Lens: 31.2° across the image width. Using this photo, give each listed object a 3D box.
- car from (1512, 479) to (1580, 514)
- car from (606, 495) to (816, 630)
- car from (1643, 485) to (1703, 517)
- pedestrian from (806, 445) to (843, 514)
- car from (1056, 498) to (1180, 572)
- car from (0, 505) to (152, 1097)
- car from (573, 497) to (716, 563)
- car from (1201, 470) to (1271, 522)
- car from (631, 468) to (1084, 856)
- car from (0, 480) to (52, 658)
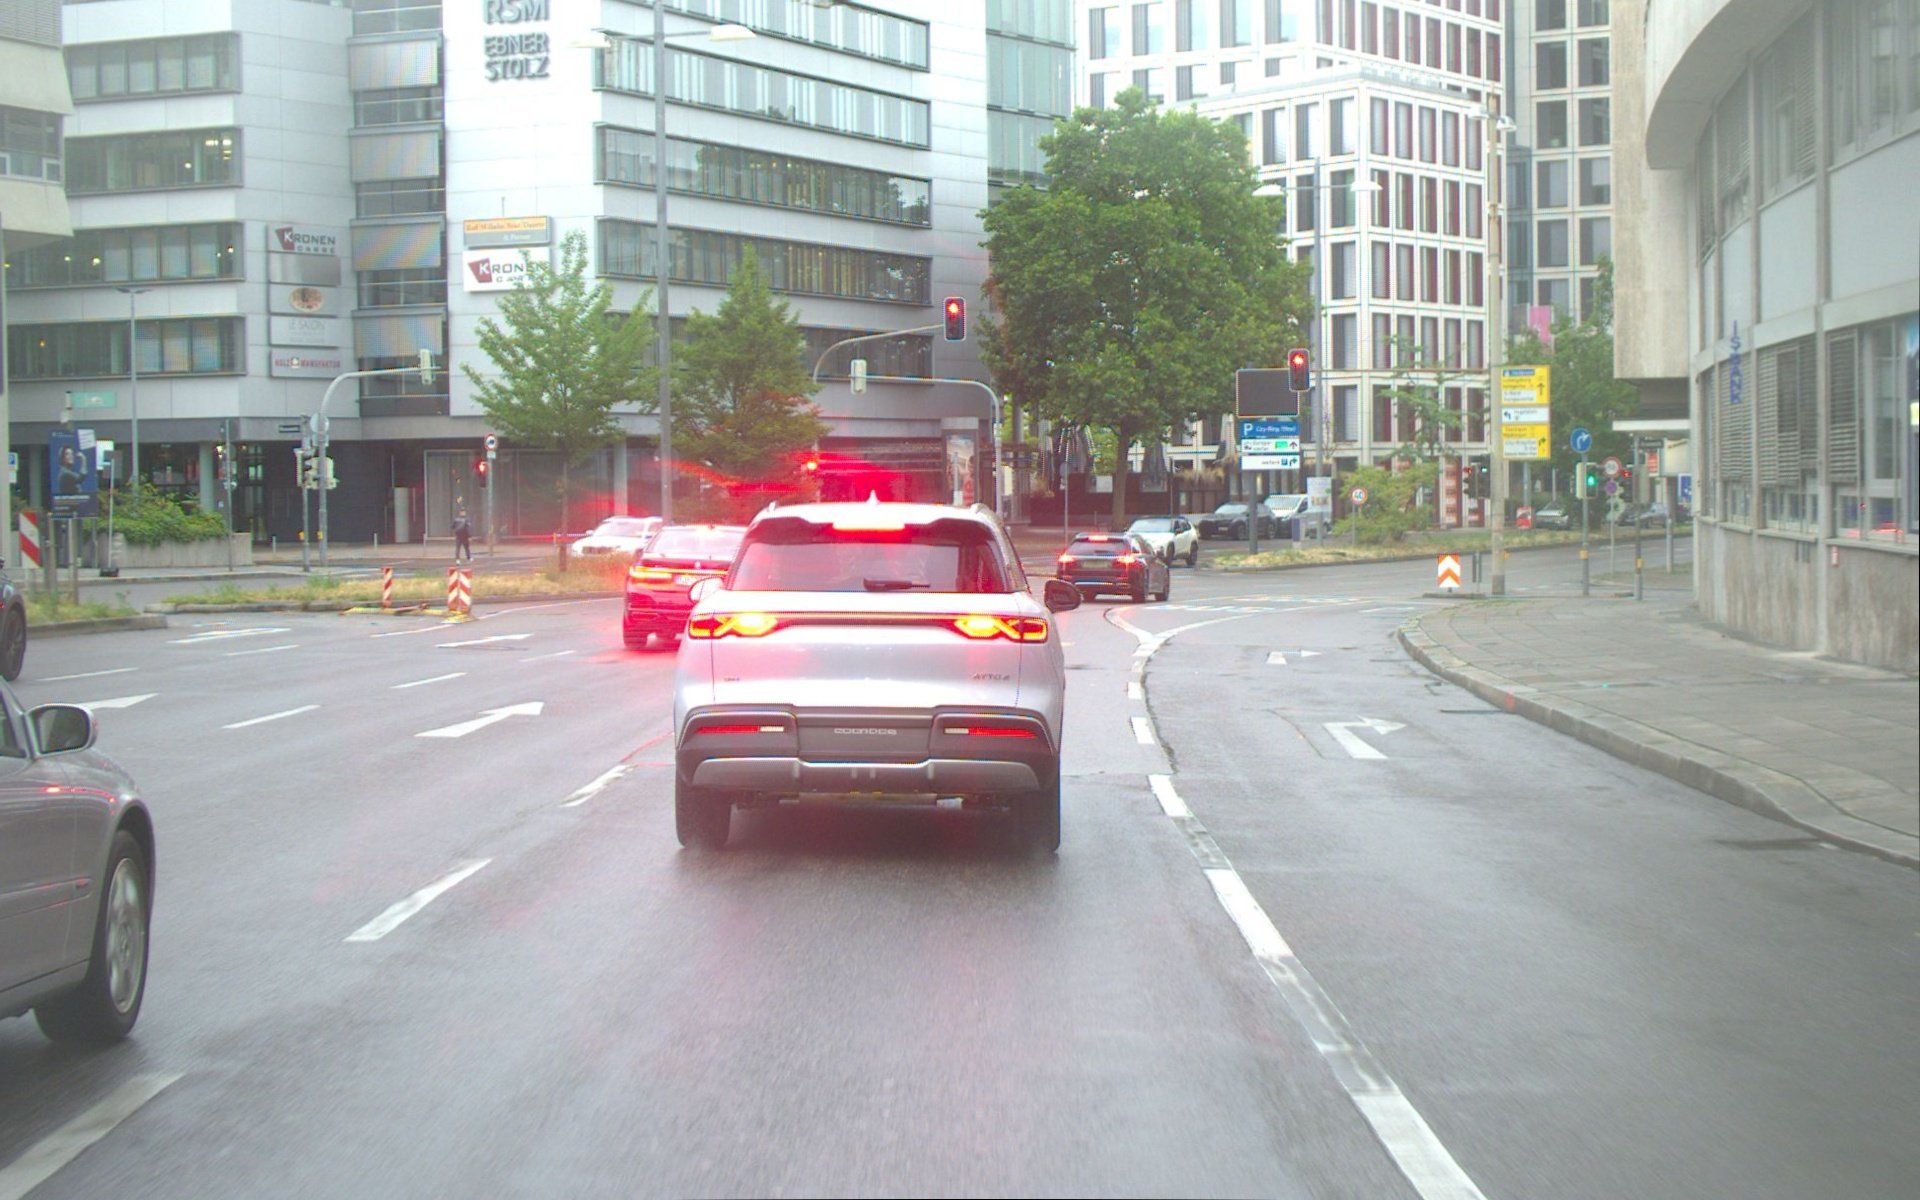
[{"bbox_3d":[30.259,-5.372,177.445,1.997,1.700,4.302,2,4,31],"label":"car"},{"bbox_3d":[-2.941,-0.484,41.348,1.955,1.525,4.000,1,2,4],"label":"car"},{"bbox_3d":[40.547,-5.659,195.480,1.997,1.700,4.302,2,4,31],"label":"car"},{"bbox_3d":[-3.451,-3.062,87.524,0.922,1.732,0.730,0,1,-1],"label":"pedestrian"},{"bbox_3d":[3.411,-1.408,73.541,1.956,1.525,3.998,1,2,13],"label":"car"},{"bbox_3d":[-3.247,0.517,8.073,1.682,1.481,4.197,0,2,0],"label":"car"},{"bbox_3d":[-8.553,-1.890,93.687,1.740,1.722,4.487,2,2,27],"label":"car"},{"bbox_3d":[12.027,-4.519,149.658,1.739,2.154,4.489,2,2,22],"label":"car"},{"bbox_3d":[-0.438,0.213,17.429,1.993,1.703,4.483,0,2,0],"label":"car"},{"bbox_3d":[-9.300,-0.258,29.223,1.993,1.538,4.483,0,2,0],"label":"car"}]
